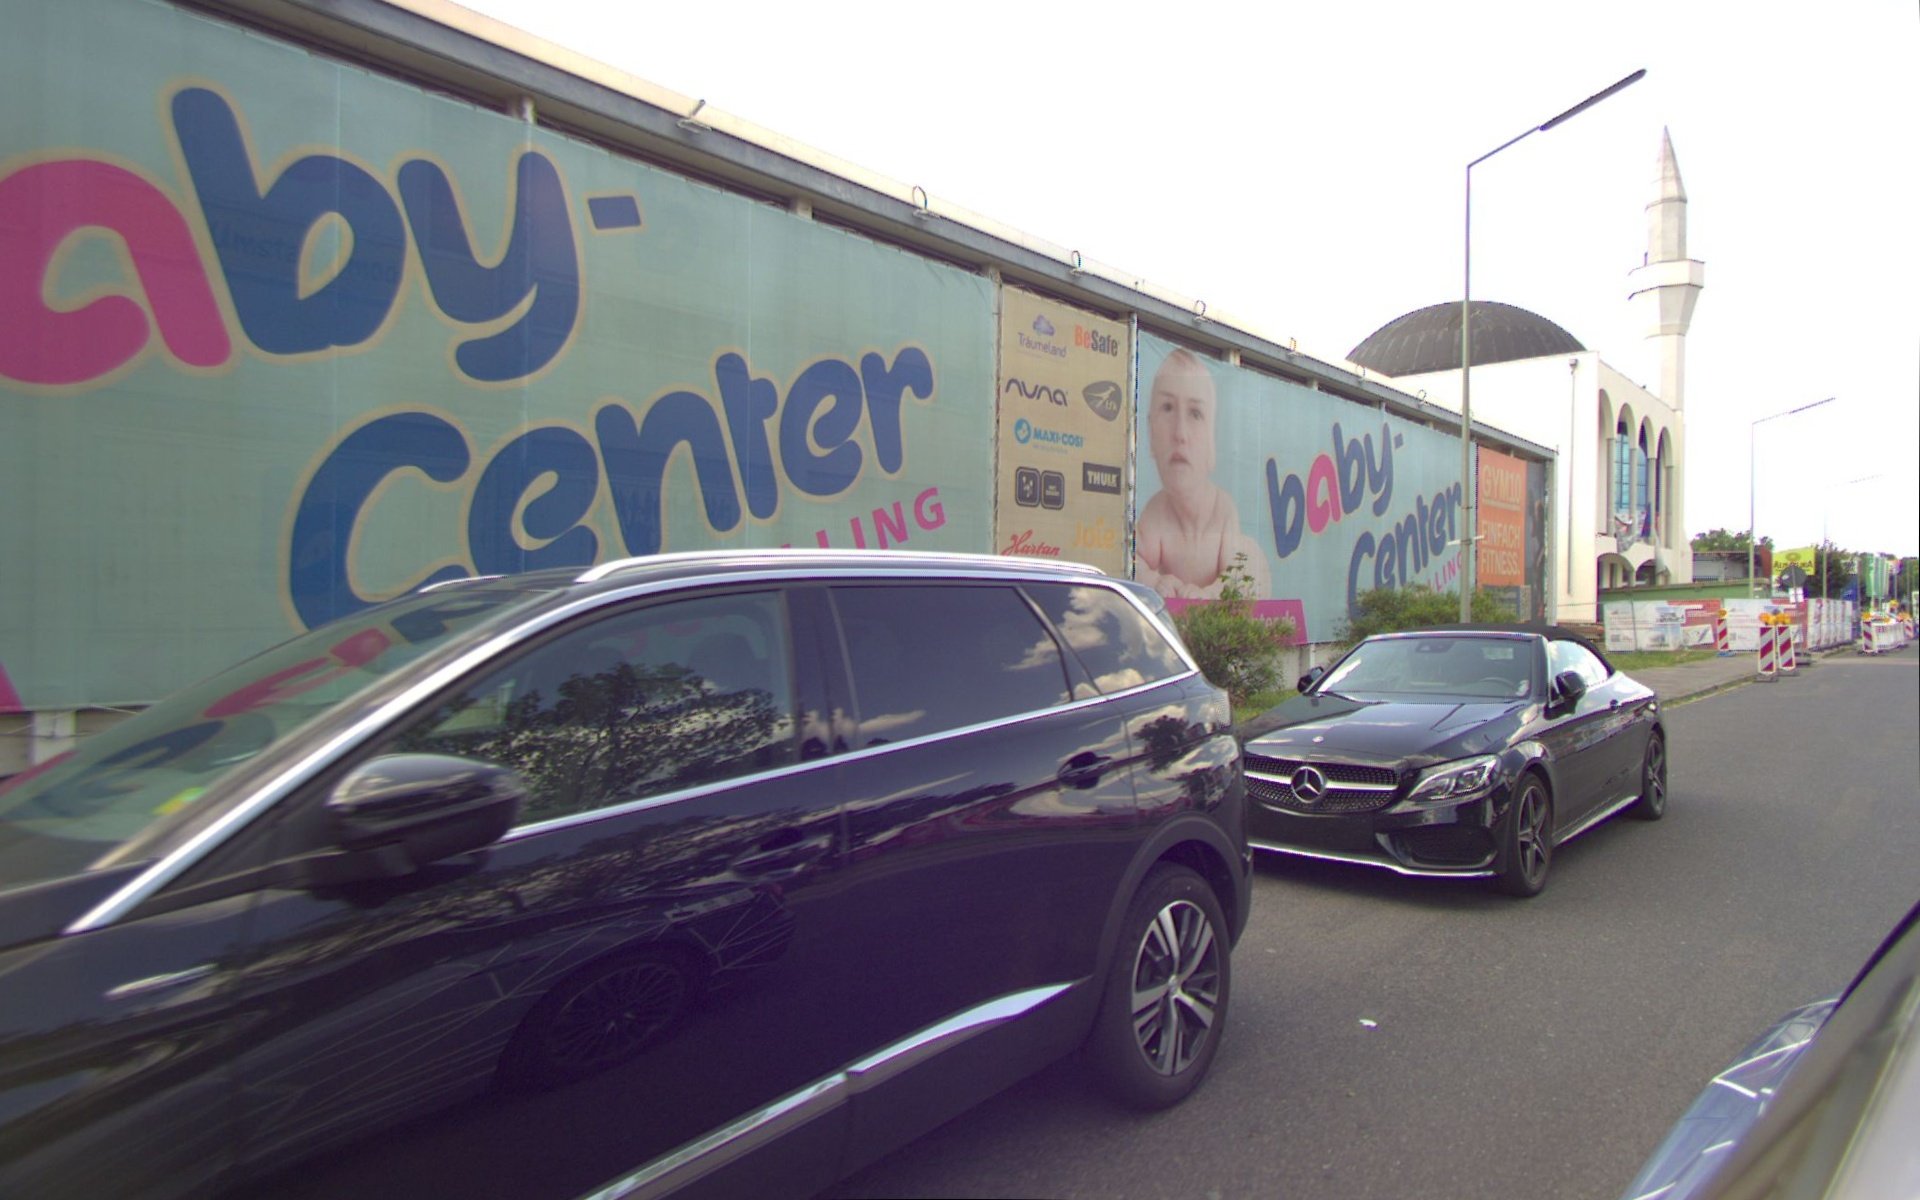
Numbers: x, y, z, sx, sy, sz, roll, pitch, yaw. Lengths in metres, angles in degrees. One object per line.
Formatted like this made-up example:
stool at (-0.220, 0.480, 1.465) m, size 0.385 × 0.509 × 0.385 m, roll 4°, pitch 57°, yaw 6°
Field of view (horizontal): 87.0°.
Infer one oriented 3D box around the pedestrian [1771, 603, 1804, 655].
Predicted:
pedestrian at (25.778, 0.888, 31.523) m, size 1.112 × 1.553 × 0.681 m, roll 0°, pitch 0°, yaw -45°

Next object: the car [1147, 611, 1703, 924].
car at (3.358, 0.799, 6.797) m, size 4.510 × 1.409 × 1.809 m, roll 1°, pitch -2°, yaw -43°

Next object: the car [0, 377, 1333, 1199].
car at (-0.896, 0.619, 2.675) m, size 1.808 × 1.687 × 4.565 m, roll -3°, pitch -2°, yaw 44°
